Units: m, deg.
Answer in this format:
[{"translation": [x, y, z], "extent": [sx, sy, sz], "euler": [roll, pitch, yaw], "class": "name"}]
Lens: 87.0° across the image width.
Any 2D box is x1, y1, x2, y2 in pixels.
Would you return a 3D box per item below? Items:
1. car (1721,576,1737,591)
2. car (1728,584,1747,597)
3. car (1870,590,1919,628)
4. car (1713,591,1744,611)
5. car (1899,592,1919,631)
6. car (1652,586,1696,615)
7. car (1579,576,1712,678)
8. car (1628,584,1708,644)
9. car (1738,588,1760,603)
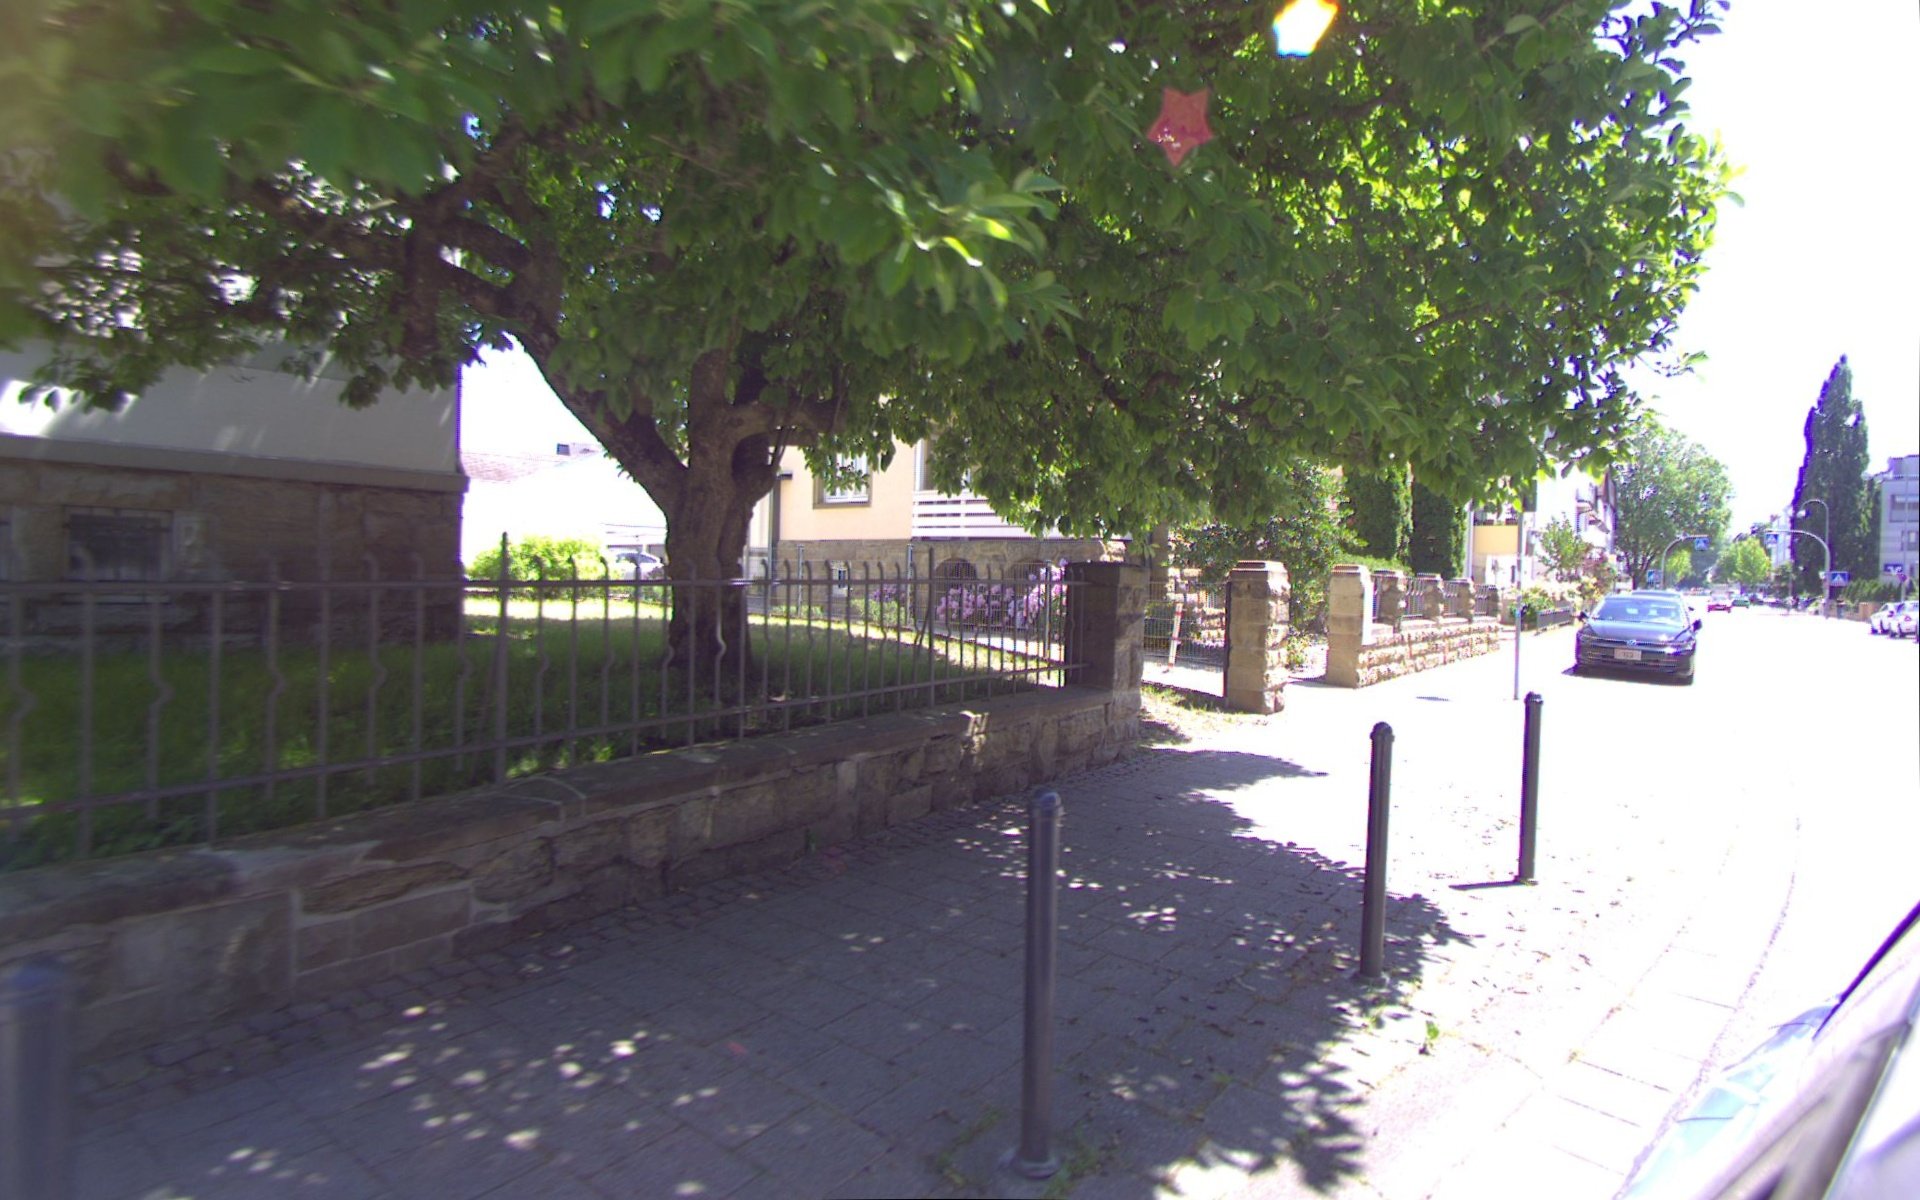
[{"translation": [124.943, -2.647, 164.396], "extent": [2.002, 2.408, 3.945], "euler": [0, 0, 38], "class": "car"}, {"translation": [101.850, -1.229, 132.582], "extent": [1.989, 1.652, 3.947], "euler": [0, 0, 37], "class": "car"}, {"translation": [41.558, 0.362, 44.460], "extent": [1.763, 1.560, 3.950], "euler": [3, 2, 35], "class": "car"}, {"translation": [65.910, 0.038, 86.822], "extent": [1.835, 1.680, 3.953], "euler": [0, 0, 33], "class": "car"}, {"translation": [39.039, 0.446, 40.422], "extent": [1.735, 1.521, 3.687], "euler": [1, 1, 35], "class": "car"}, {"translation": [42.848, 0.015, 60.770], "extent": [1.985, 1.643, 3.954], "euler": [0, 1, 33], "class": "car"}, {"translation": [12.420, 0.407, 18.367], "extent": [1.764, 1.560, 3.950], "euler": [4, 3, 35], "class": "car"}, {"translation": [21.061, 0.351, 30.169], "extent": [1.764, 1.560, 3.950], "euler": [4, 3, 35], "class": "car"}, {"translation": [89.669, -0.535, 115.035], "extent": [1.820, 1.649, 3.947], "euler": [0, 0, 37], "class": "car"}]
